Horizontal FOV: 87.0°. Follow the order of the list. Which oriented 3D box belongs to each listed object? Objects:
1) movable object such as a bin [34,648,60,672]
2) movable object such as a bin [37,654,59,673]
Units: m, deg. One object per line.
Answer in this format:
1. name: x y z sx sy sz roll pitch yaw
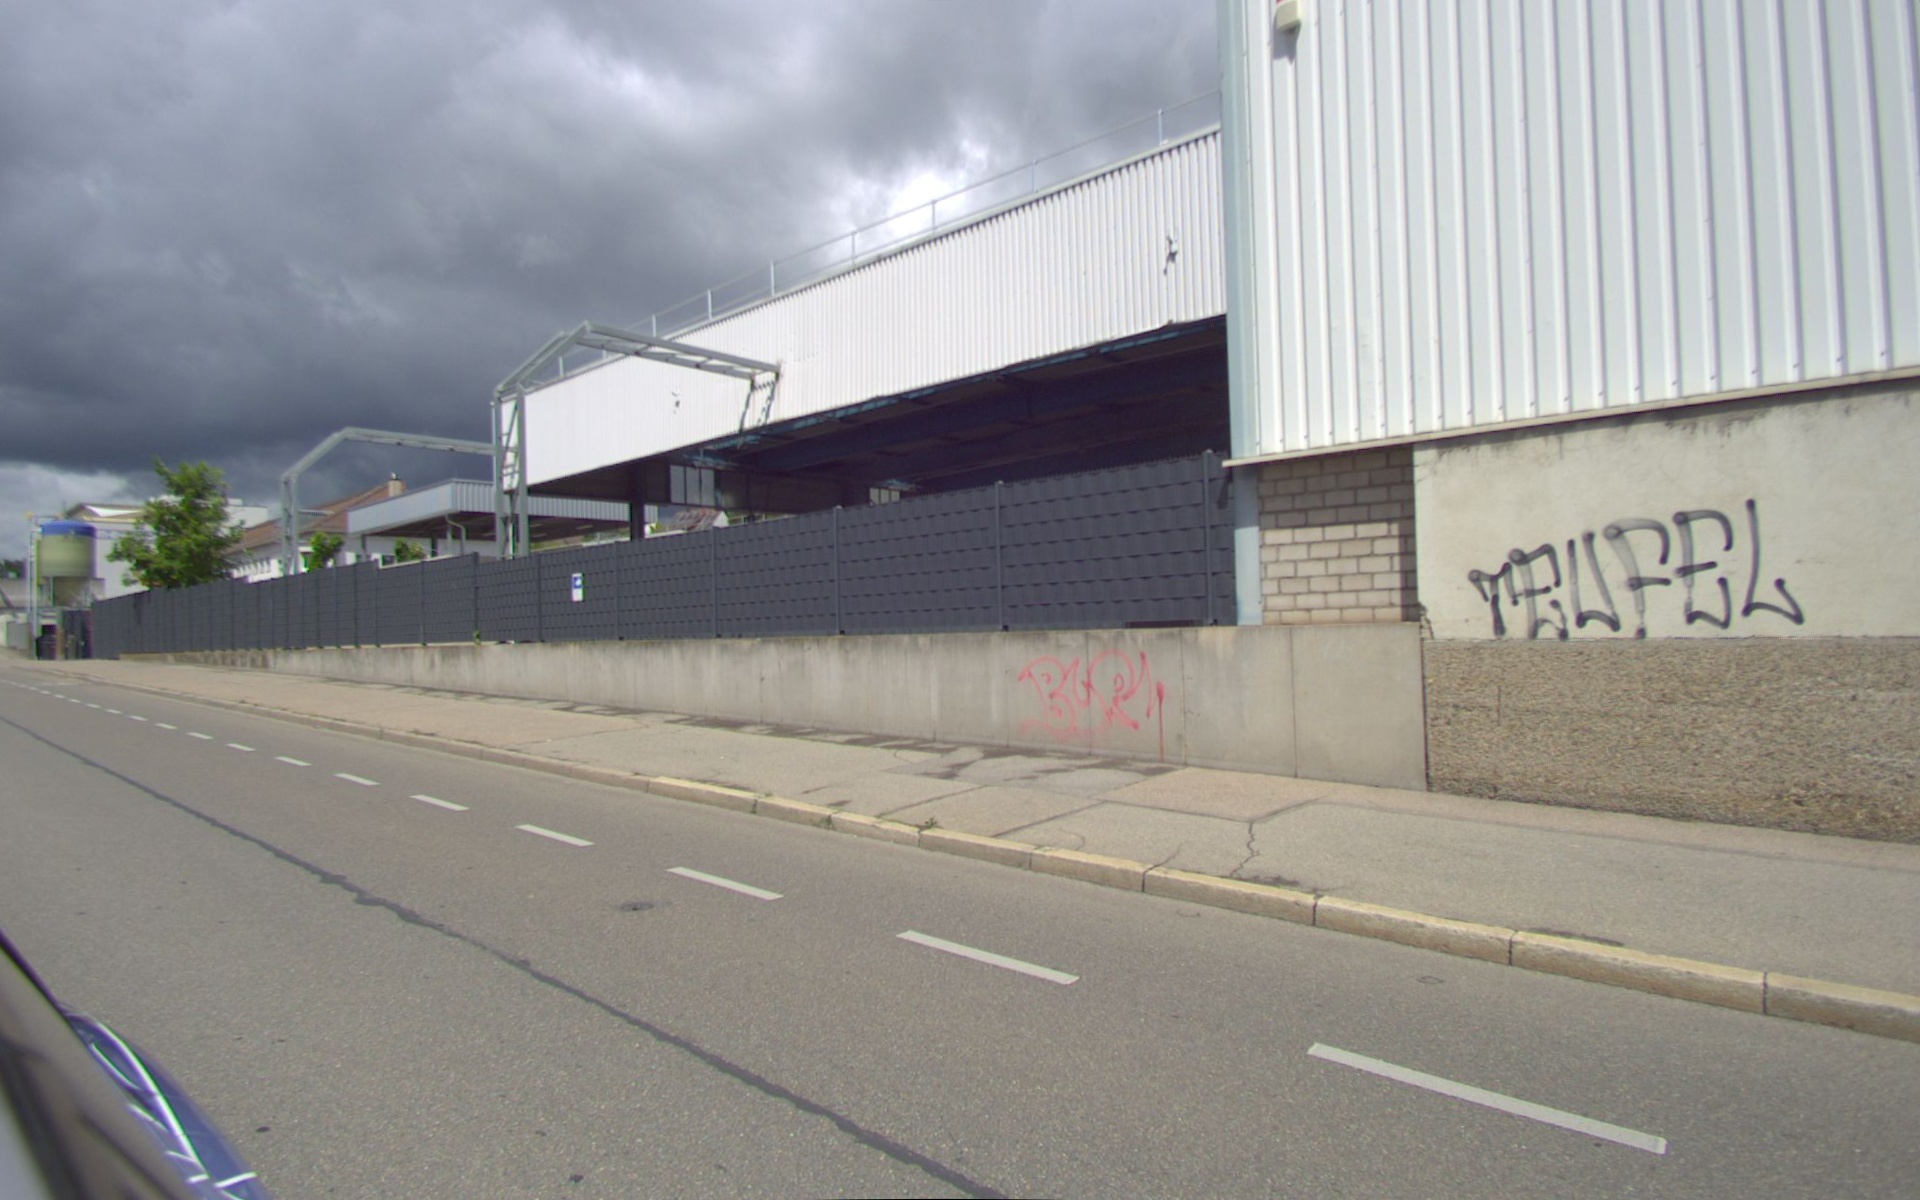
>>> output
1. movable object such as a bin: -52.860 3.481 58.594 1.215 1.404 0.980 -3 -5 43
2. movable object such as a bin: -52.171 3.620 57.893 0.862 1.058 0.741 3 -5 -44
